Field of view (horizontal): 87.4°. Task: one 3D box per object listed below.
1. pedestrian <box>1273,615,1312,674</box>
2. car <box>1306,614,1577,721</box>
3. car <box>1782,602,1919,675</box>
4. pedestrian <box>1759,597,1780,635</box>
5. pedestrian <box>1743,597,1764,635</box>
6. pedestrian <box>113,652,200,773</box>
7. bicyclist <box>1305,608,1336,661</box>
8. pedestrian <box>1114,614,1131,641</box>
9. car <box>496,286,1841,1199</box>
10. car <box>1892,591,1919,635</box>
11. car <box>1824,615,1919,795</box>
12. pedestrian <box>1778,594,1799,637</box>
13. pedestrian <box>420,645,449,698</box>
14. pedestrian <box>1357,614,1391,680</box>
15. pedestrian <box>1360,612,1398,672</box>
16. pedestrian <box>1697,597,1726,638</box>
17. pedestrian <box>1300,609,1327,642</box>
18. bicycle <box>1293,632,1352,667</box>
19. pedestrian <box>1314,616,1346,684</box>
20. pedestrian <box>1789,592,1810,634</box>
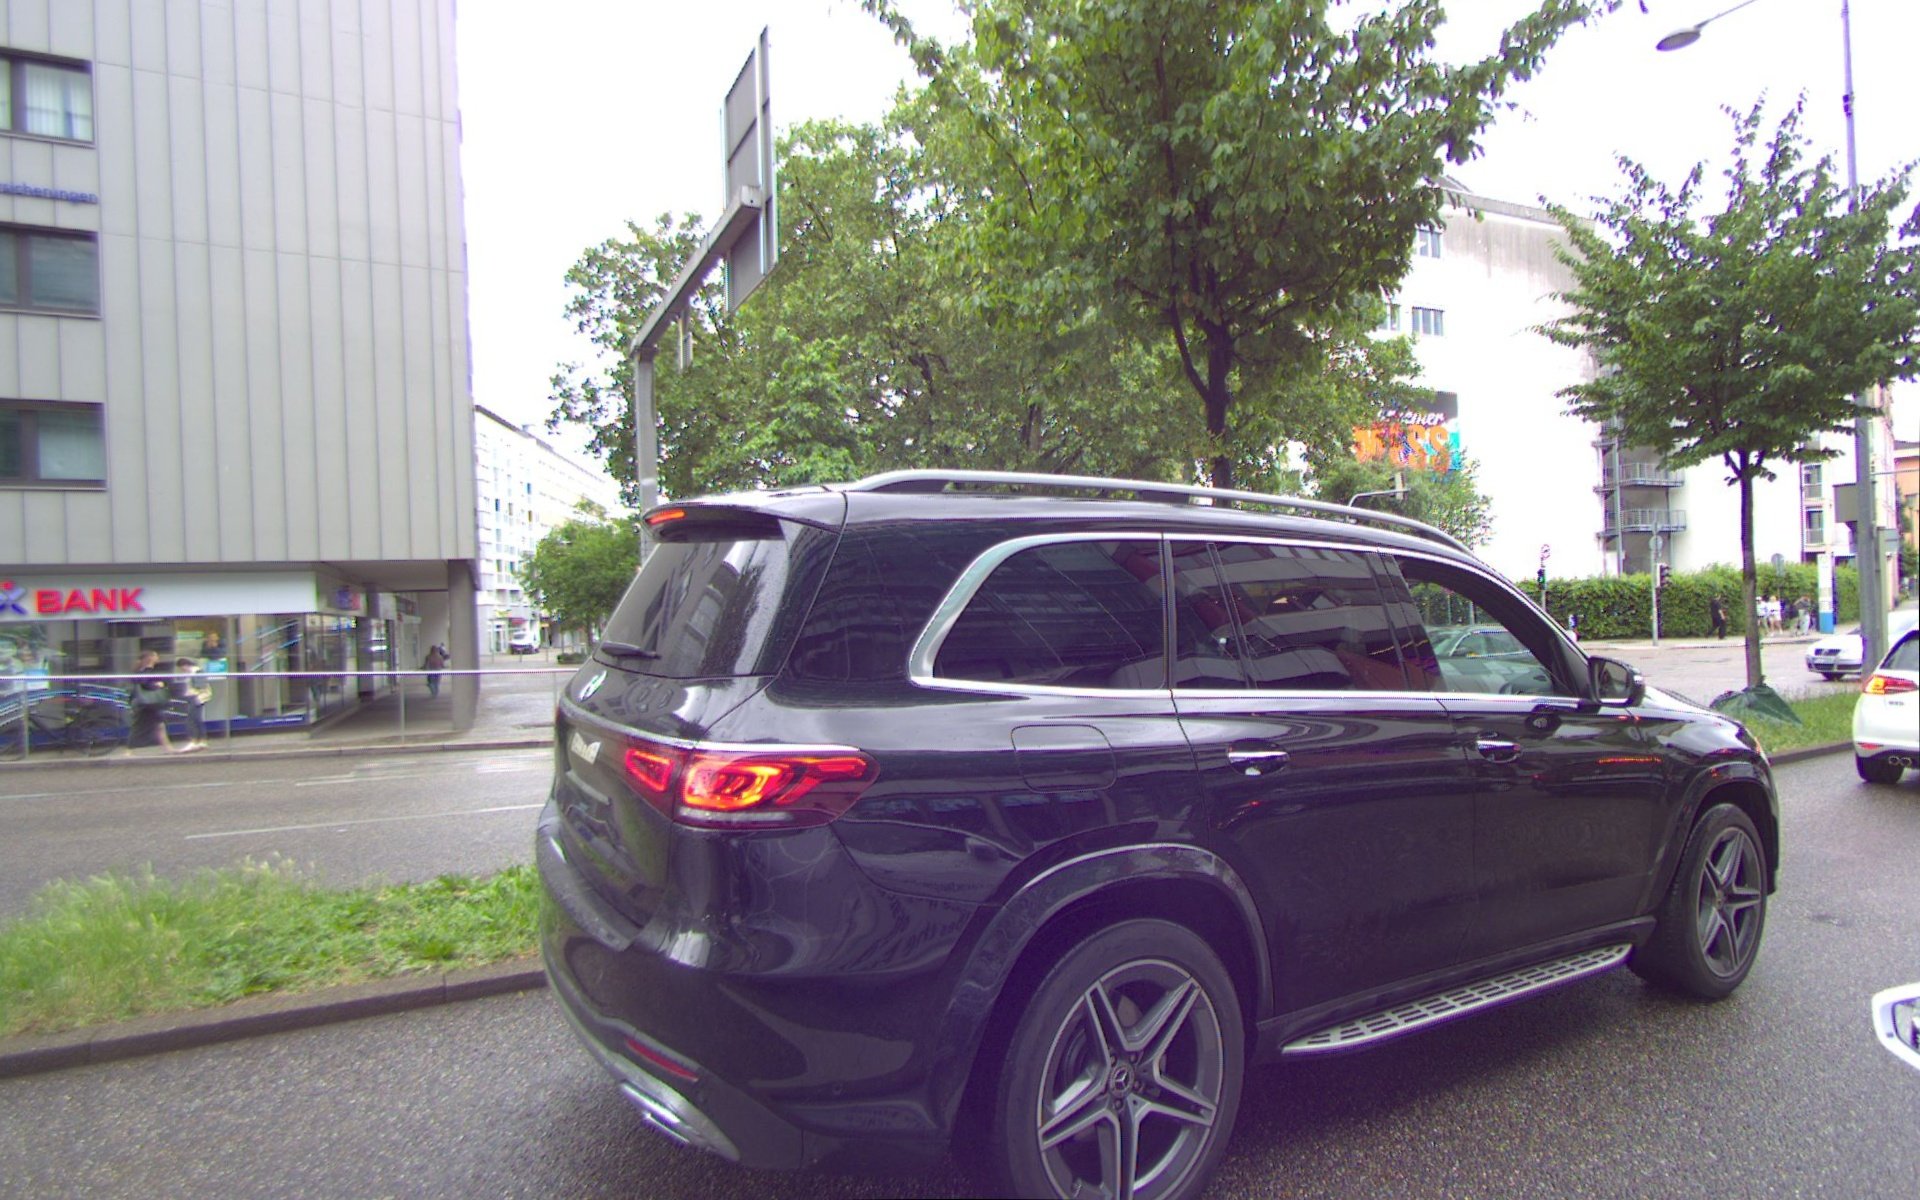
[{"bbox_3d":[10.475,1.380,31.643,0.698,1.807,0.922,2,-1,-19],"label":"pedestrian"},{"bbox_3d":[8.136,1.072,16.866,4.678,1.505,1.627,-1,-3,-28],"label":"car"},{"bbox_3d":[19.917,0.838,21.198,3.678,1.487,1.640,0,-4,3],"label":"car"},{"bbox_3d":[34.698,0.693,43.046,0.522,1.620,0.576,2,-1,-36],"label":"pedestrian"},{"bbox_3d":[33.618,0.674,42.556,0.522,1.620,0.576,2,-1,-36],"label":"pedestrian"},{"bbox_3d":[-11.577,1.602,14.501,0.779,1.659,0.632,2,-1,-22],"label":"pedestrian"},{"bbox_3d":[10.774,1.043,30.035,0.602,1.550,0.629,2,-3,-30],"label":"bicyclist"},{"bbox_3d":[10.181,1.715,62.945,0.723,1.664,0.635,2,-1,-23],"label":"pedestrian"},{"bbox_3d":[1.125,0.515,3.798,5.016,1.895,1.901,3,-1,-31],"label":"car"},{"bbox_3d":[34.344,0.445,35.286,3.571,1.506,1.565,0,1,-33],"label":"car"},{"bbox_3d":[9.539,0.873,8.954,3.800,1.448,1.768,0,0,-32],"label":"car"},{"bbox_3d":[34.761,0.656,42.142,0.741,1.771,0.535,2,-1,-38],"label":"pedestrian"},{"bbox_3d":[-17.416,2.366,33.298,0.719,1.719,0.782,2,-3,-37],"label":"pedestrian"},{"bbox_3d":[10.871,1.227,26.367,0.572,1.684,0.554,-2,0,-30],"label":"pedestrian"},{"bbox_3d":[12.040,1.190,28.886,0.620,1.684,0.749,-2,0,-30],"label":"pedestrian"},{"bbox_3d":[30.540,0.707,40.815,0.724,1.664,0.635,2,-1,-27],"label":"pedestrian"},{"bbox_3d":[17.501,1.260,49.759,0.677,1.599,1.055,2,-1,-34],"label":"pedestrian"},{"bbox_3d":[10.860,1.491,30.076,1.918,1.013,0.612,2,-3,-31],"label":"bicycle"},{"bbox_3d":[9.316,1.254,25.324,0.568,1.684,0.559,-1,0,2],"label":"pedestrian"},{"bbox_3d":[36.037,0.552,43.097,0.559,1.771,0.535,2,-1,-35],"label":"pedestrian"}]
